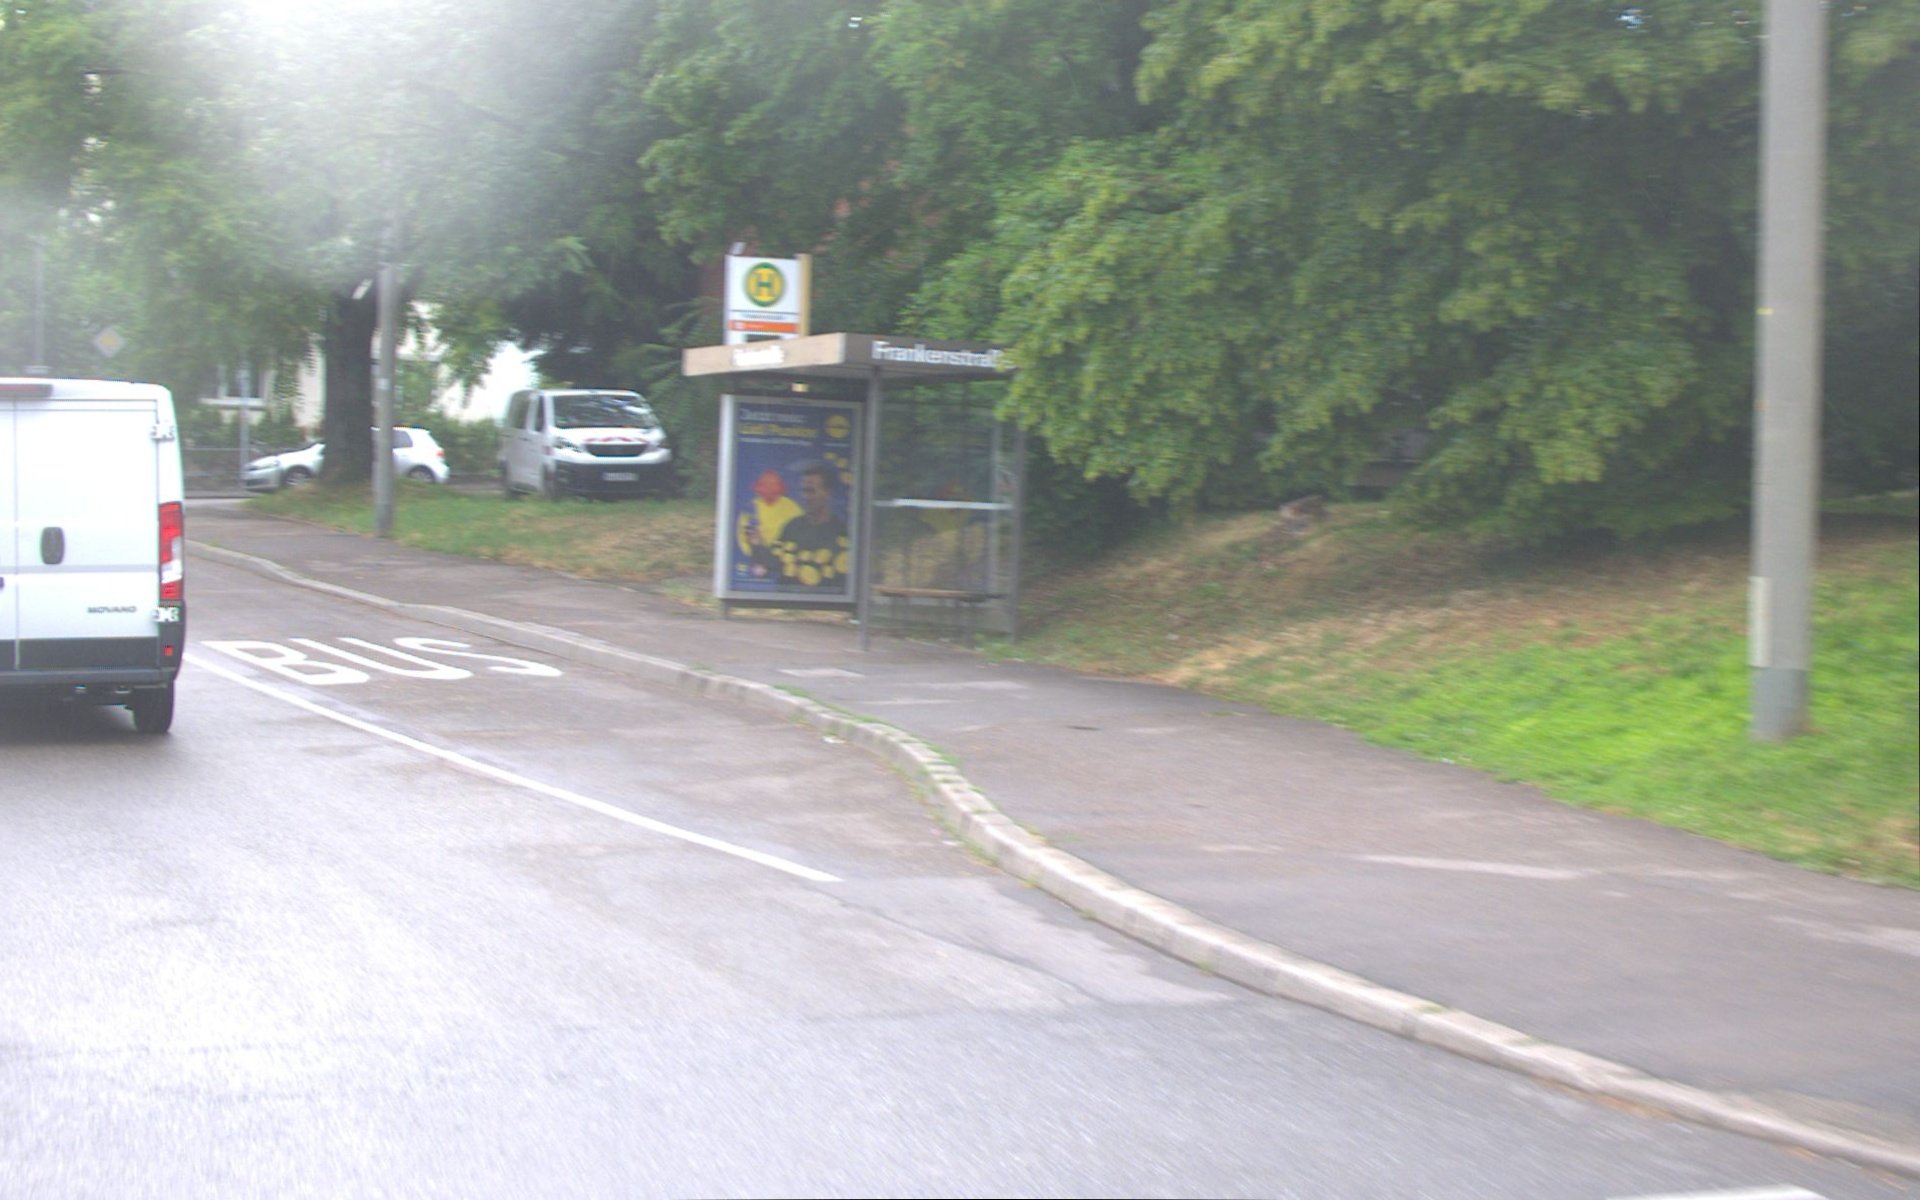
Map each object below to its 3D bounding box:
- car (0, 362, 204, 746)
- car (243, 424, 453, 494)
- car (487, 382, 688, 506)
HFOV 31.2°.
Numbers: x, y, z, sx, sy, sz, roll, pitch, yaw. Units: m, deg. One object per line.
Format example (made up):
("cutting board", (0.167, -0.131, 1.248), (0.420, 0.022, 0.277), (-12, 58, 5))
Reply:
("car", (-6.416, -0.353, 22.784), (2.146, 2.275, 5.064), (-1, 2, -19))
("car", (-12.724, -2.931, 71.473), (3.986, 1.418, 1.704), (-2, 2, -24))
("car", (-5.960, -2.499, 54.420), (1.993, 1.798, 5.149), (2, 3, -19))
